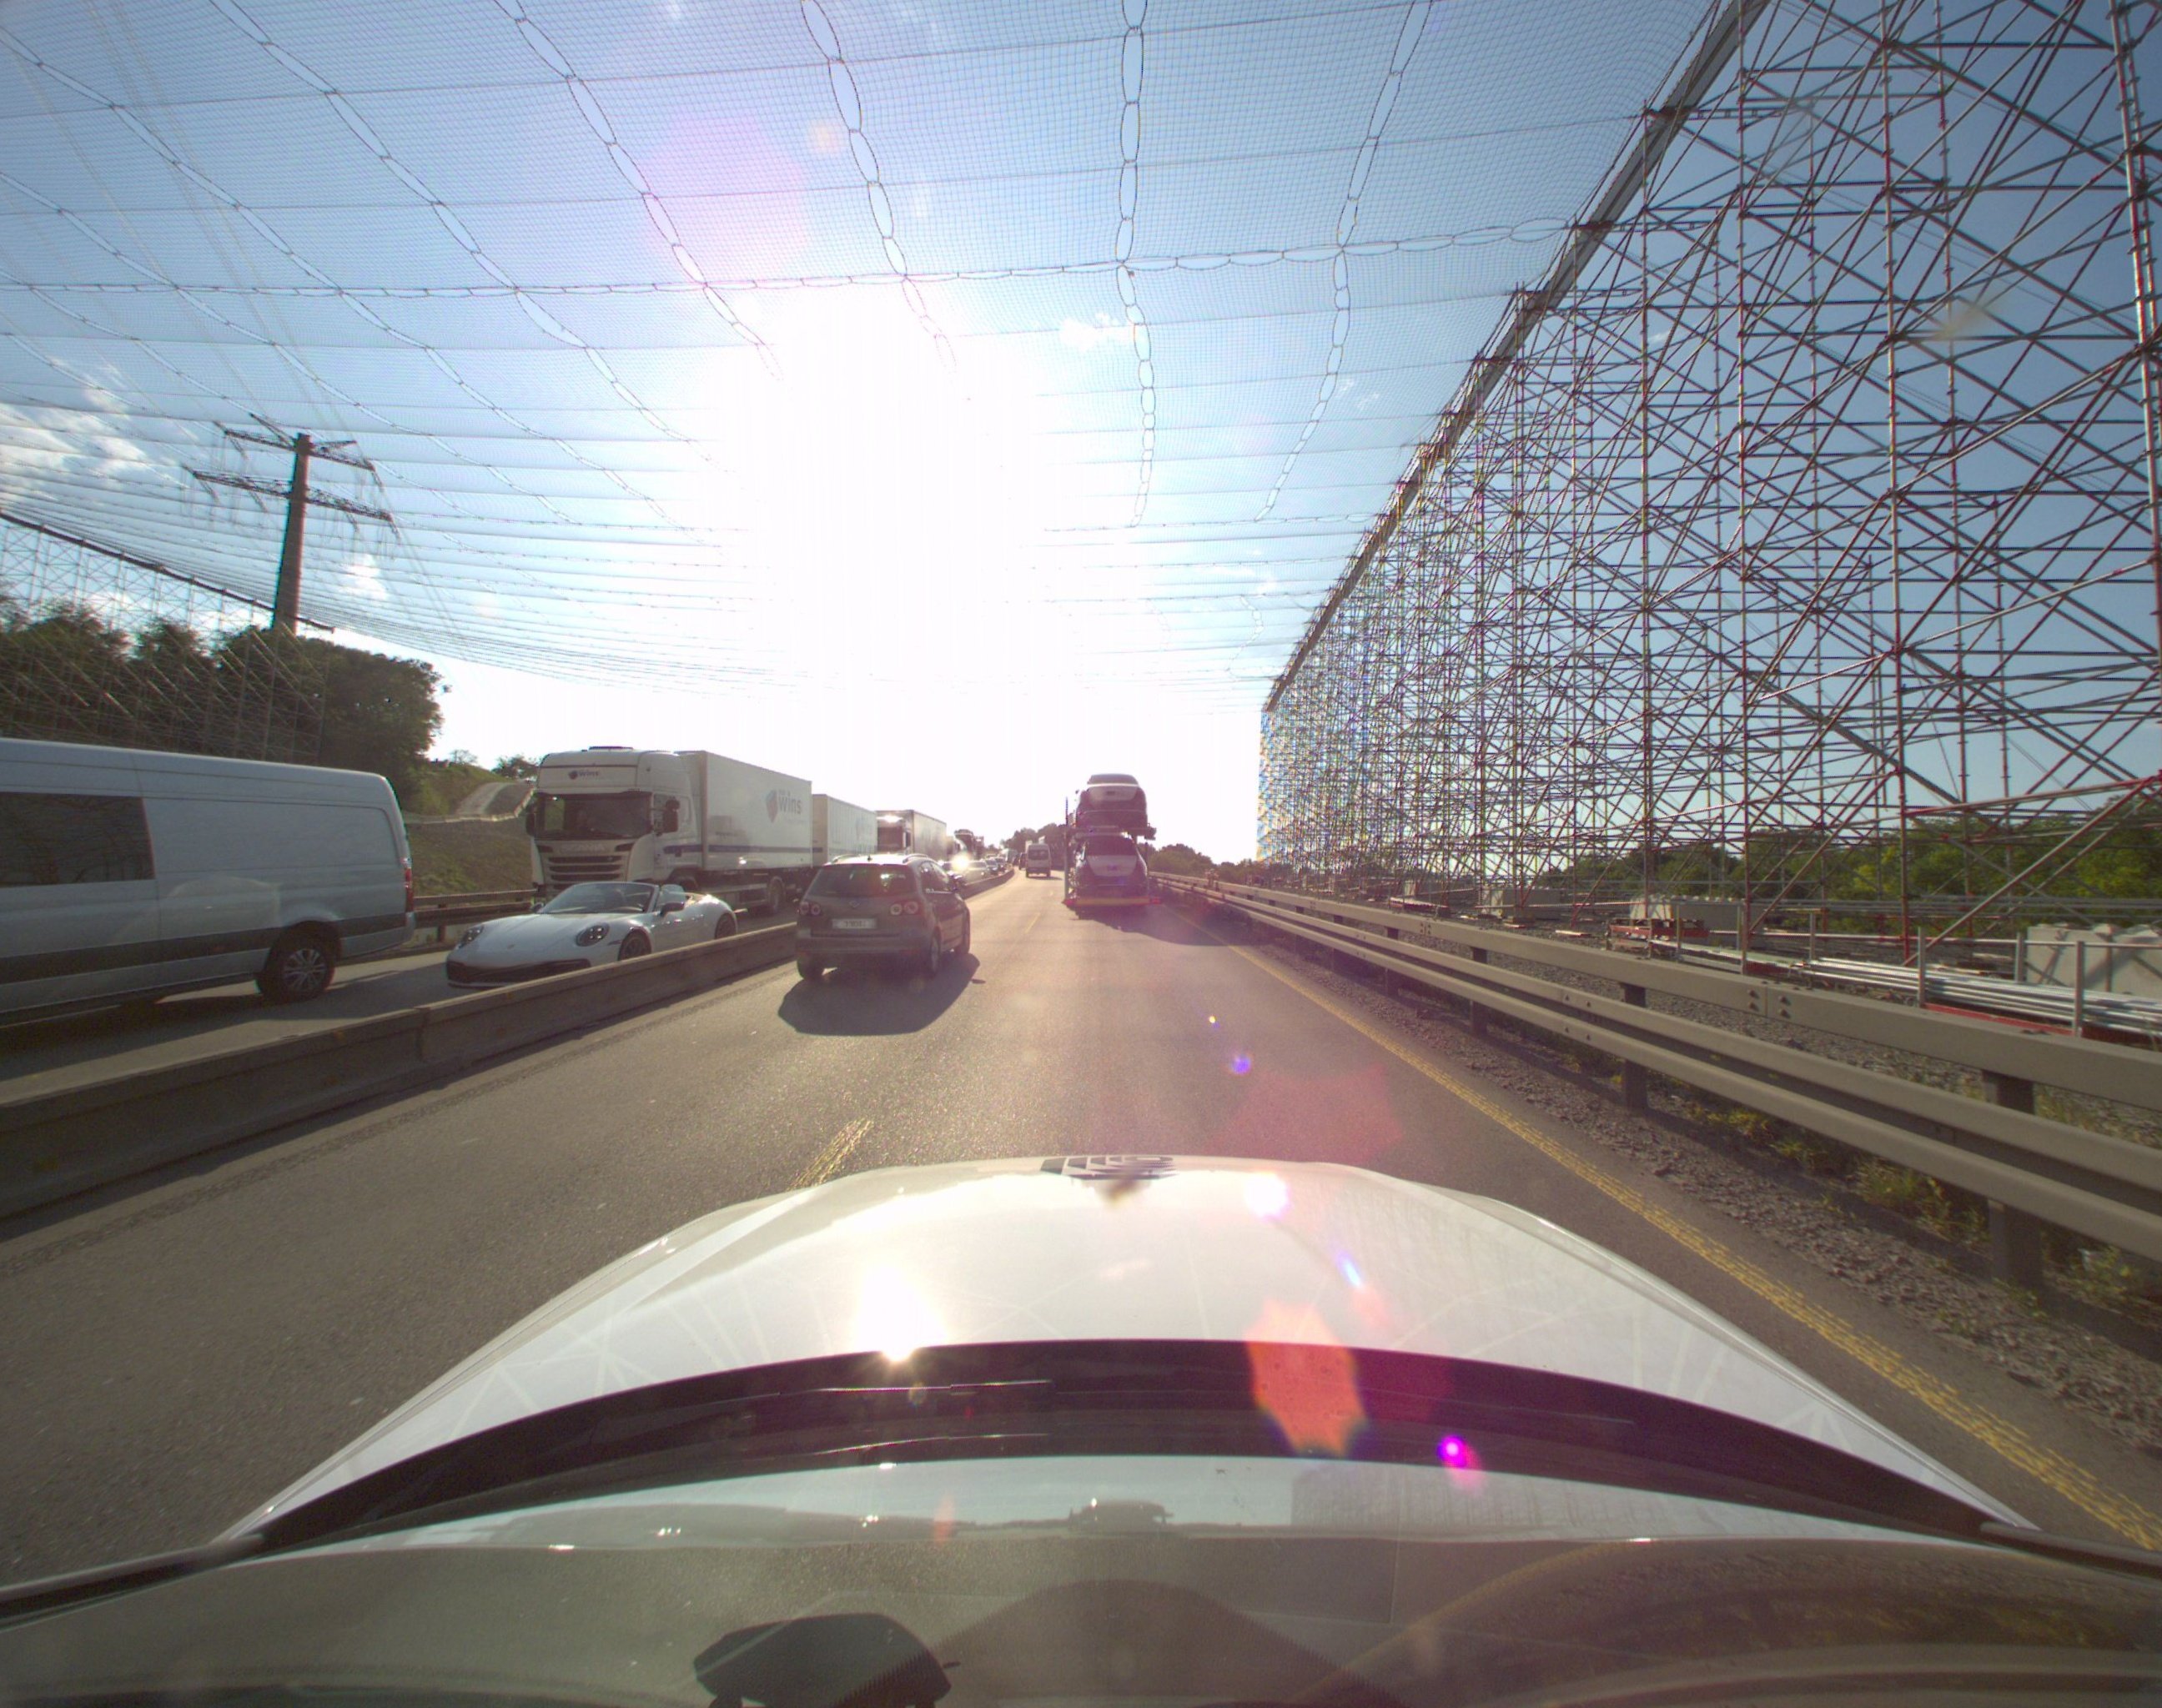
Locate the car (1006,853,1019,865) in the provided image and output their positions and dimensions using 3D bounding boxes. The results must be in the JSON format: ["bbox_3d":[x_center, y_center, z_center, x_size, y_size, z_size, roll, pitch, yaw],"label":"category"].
[{"bbox_3d":[-10.191,0.793,120.498,1.823,1.772,3.992,0,-1,-5],"label":"car"}]

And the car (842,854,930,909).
[{"bbox_3d":[-6.038,0.802,25.704,1.803,1.568,4.363,0,-1,-1],"label":"car"}]

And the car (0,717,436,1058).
[{"bbox_3d":[-9.714,0.279,7.256,2.234,2.713,7.081,0,-1,0],"label":"car"}]

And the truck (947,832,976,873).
[{"bbox_3d":[-11.461,-0.103,78.257,2.429,3.785,5.606,0,-1,-5],"label":"truck"}]

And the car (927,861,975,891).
[{"bbox_3d":[-6.481,1.065,40.975,1.773,1.450,4.660,0,-1,-2],"label":"car"}]

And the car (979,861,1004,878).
[{"bbox_3d":[-7.430,1.257,67.953,1.790,1.398,4.238,0,-1,-3],"label":"car"}]

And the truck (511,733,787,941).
[{"bbox_3d":[-9.461,-0.300,19.000,2.623,3.910,7.202,0,-1,-1],"label":"truck"}]

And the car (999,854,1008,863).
[{"bbox_3d":[-15.907,0.995,167.135,1.834,1.836,3.994,0,-1,-4],"label":"car"}]

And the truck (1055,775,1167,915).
[{"bbox_3d":[0.705,-0.173,25.746,2.790,3.497,10.601,0,-1,-1],"label":"truck"}]

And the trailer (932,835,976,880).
[{"bbox_3d":[-10.423,0.304,67.770,2.301,3.362,12.039,0,-1,-3],"label":"trailer"}]

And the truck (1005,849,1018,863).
[{"bbox_3d":[-15.866,0.551,186.094,2.585,3.170,6.667,0,-1,-4],"label":"truck"}]

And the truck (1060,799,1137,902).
[{"bbox_3d":[0.604,-0.082,35.163,2.829,3.792,9.982,0,-1,-1],"label":"truck"}]

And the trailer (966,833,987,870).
[{"bbox_3d":[-12.847,-0.211,100.643,2.473,4.328,10.487,0,-1,-6],"label":"trailer"}]

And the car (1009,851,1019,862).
[{"bbox_3d":[-11.546,0.443,139.890,1.628,2.014,3.990,0,-1,-7],"label":"car"}]

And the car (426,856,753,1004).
[{"bbox_3d":[-6.156,0.834,10.941,1.803,1.568,4.363,0,-1,-1],"label":"car"}]

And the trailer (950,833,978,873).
[{"bbox_3d":[-12.016,-0.046,84.256,2.304,3.790,12.026,0,-1,-6],"label":"trailer"}]

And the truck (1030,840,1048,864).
[{"bbox_3d":[-6.866,-0.293,132.227,2.526,3.648,8.890,0,-1,-5],"label":"truck"}]

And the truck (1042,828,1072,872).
[{"bbox_3d":[-3.087,-0.405,101.025,3.279,5.237,9.921,0,-1,-4],"label":"truck"}]

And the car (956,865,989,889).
[{"bbox_3d":[-6.554,1.363,49.431,1.603,1.376,3.897,0,-1,-3],"label":"car"}]

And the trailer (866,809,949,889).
[{"bbox_3d":[-9.724,-0.182,47.295,2.422,3.963,14.083,0,-1,-3],"label":"trailer"}]

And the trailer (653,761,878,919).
[{"bbox_3d":[-9.691,-0.313,27.401,2.662,4.016,13.324,0,-1,-1],"label":"trailer"}]

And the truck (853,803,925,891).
[{"bbox_3d":[-9.389,-0.291,40.324,2.467,4.046,5.611,0,-1,-3],"label":"truck"}]

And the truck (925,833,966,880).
[{"bbox_3d":[-10.153,0.231,61.319,2.408,3.370,5.611,0,-1,-3],"label":"truck"}]

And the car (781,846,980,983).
[{"bbox_3d":[-2.608,0.731,11.571,1.685,1.596,4.002,0,-1,2],"label":"car"}]

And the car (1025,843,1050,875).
[{"bbox_3d":[-3.550,0.432,65.741,1.917,2.492,5.401,0,-1,-3],"label":"car"}]

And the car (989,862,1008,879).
[{"bbox_3d":[-8.096,1.636,79.856,1.748,1.587,3.936,0,-1,-5],"label":"car"}]
